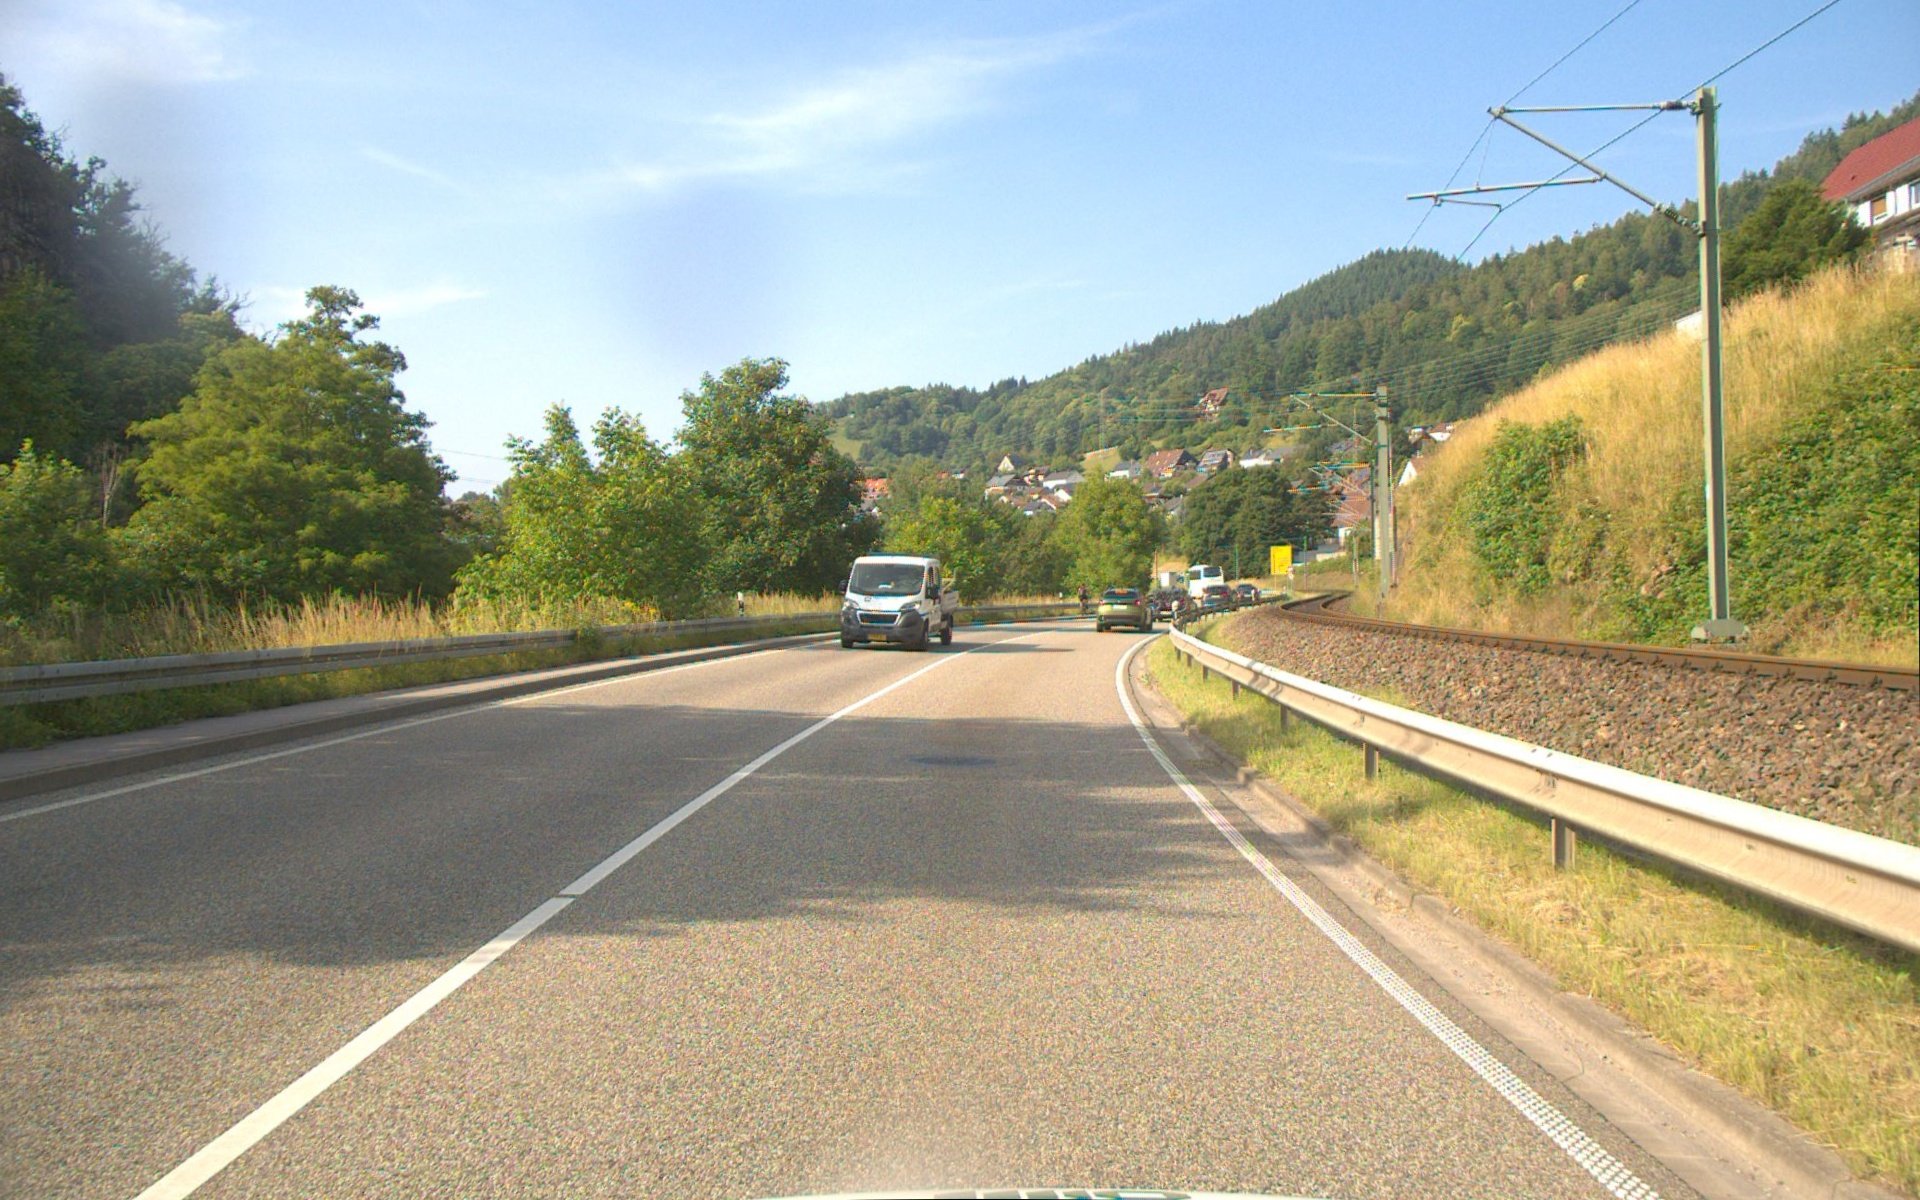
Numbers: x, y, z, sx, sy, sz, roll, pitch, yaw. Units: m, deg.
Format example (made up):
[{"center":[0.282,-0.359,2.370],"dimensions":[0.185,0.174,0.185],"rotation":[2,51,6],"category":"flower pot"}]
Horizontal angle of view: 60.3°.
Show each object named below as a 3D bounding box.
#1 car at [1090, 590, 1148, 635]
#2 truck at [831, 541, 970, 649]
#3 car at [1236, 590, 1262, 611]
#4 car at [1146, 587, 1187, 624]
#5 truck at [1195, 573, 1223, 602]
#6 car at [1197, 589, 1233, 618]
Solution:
[{"center":[5.605,0.428,57.966],"dimensions":[1.678,1.480,4.003],"rotation":[2,0,10],"category":"car"},{"center":[-1.346,-0.107,41.099],"dimensions":[2.111,2.407,6.751],"rotation":[2,0,9],"category":"truck"},{"center":[21.735,0.010,124.267],"dimensions":[1.809,1.553,3.666],"rotation":[0,1,12],"category":"car"},{"center":[9.145,0.239,72.998],"dimensions":[1.631,1.586,4.003],"rotation":[0,0,9],"category":"car"},{"center":[28.131,-1.416,187.218],"dimensions":[2.654,3.138,6.112],"rotation":[1,0,4],"category":"truck"},{"center":[15.512,0.177,100.495],"dimensions":[1.840,1.716,4.003],"rotation":[0,0,13],"category":"car"}]
